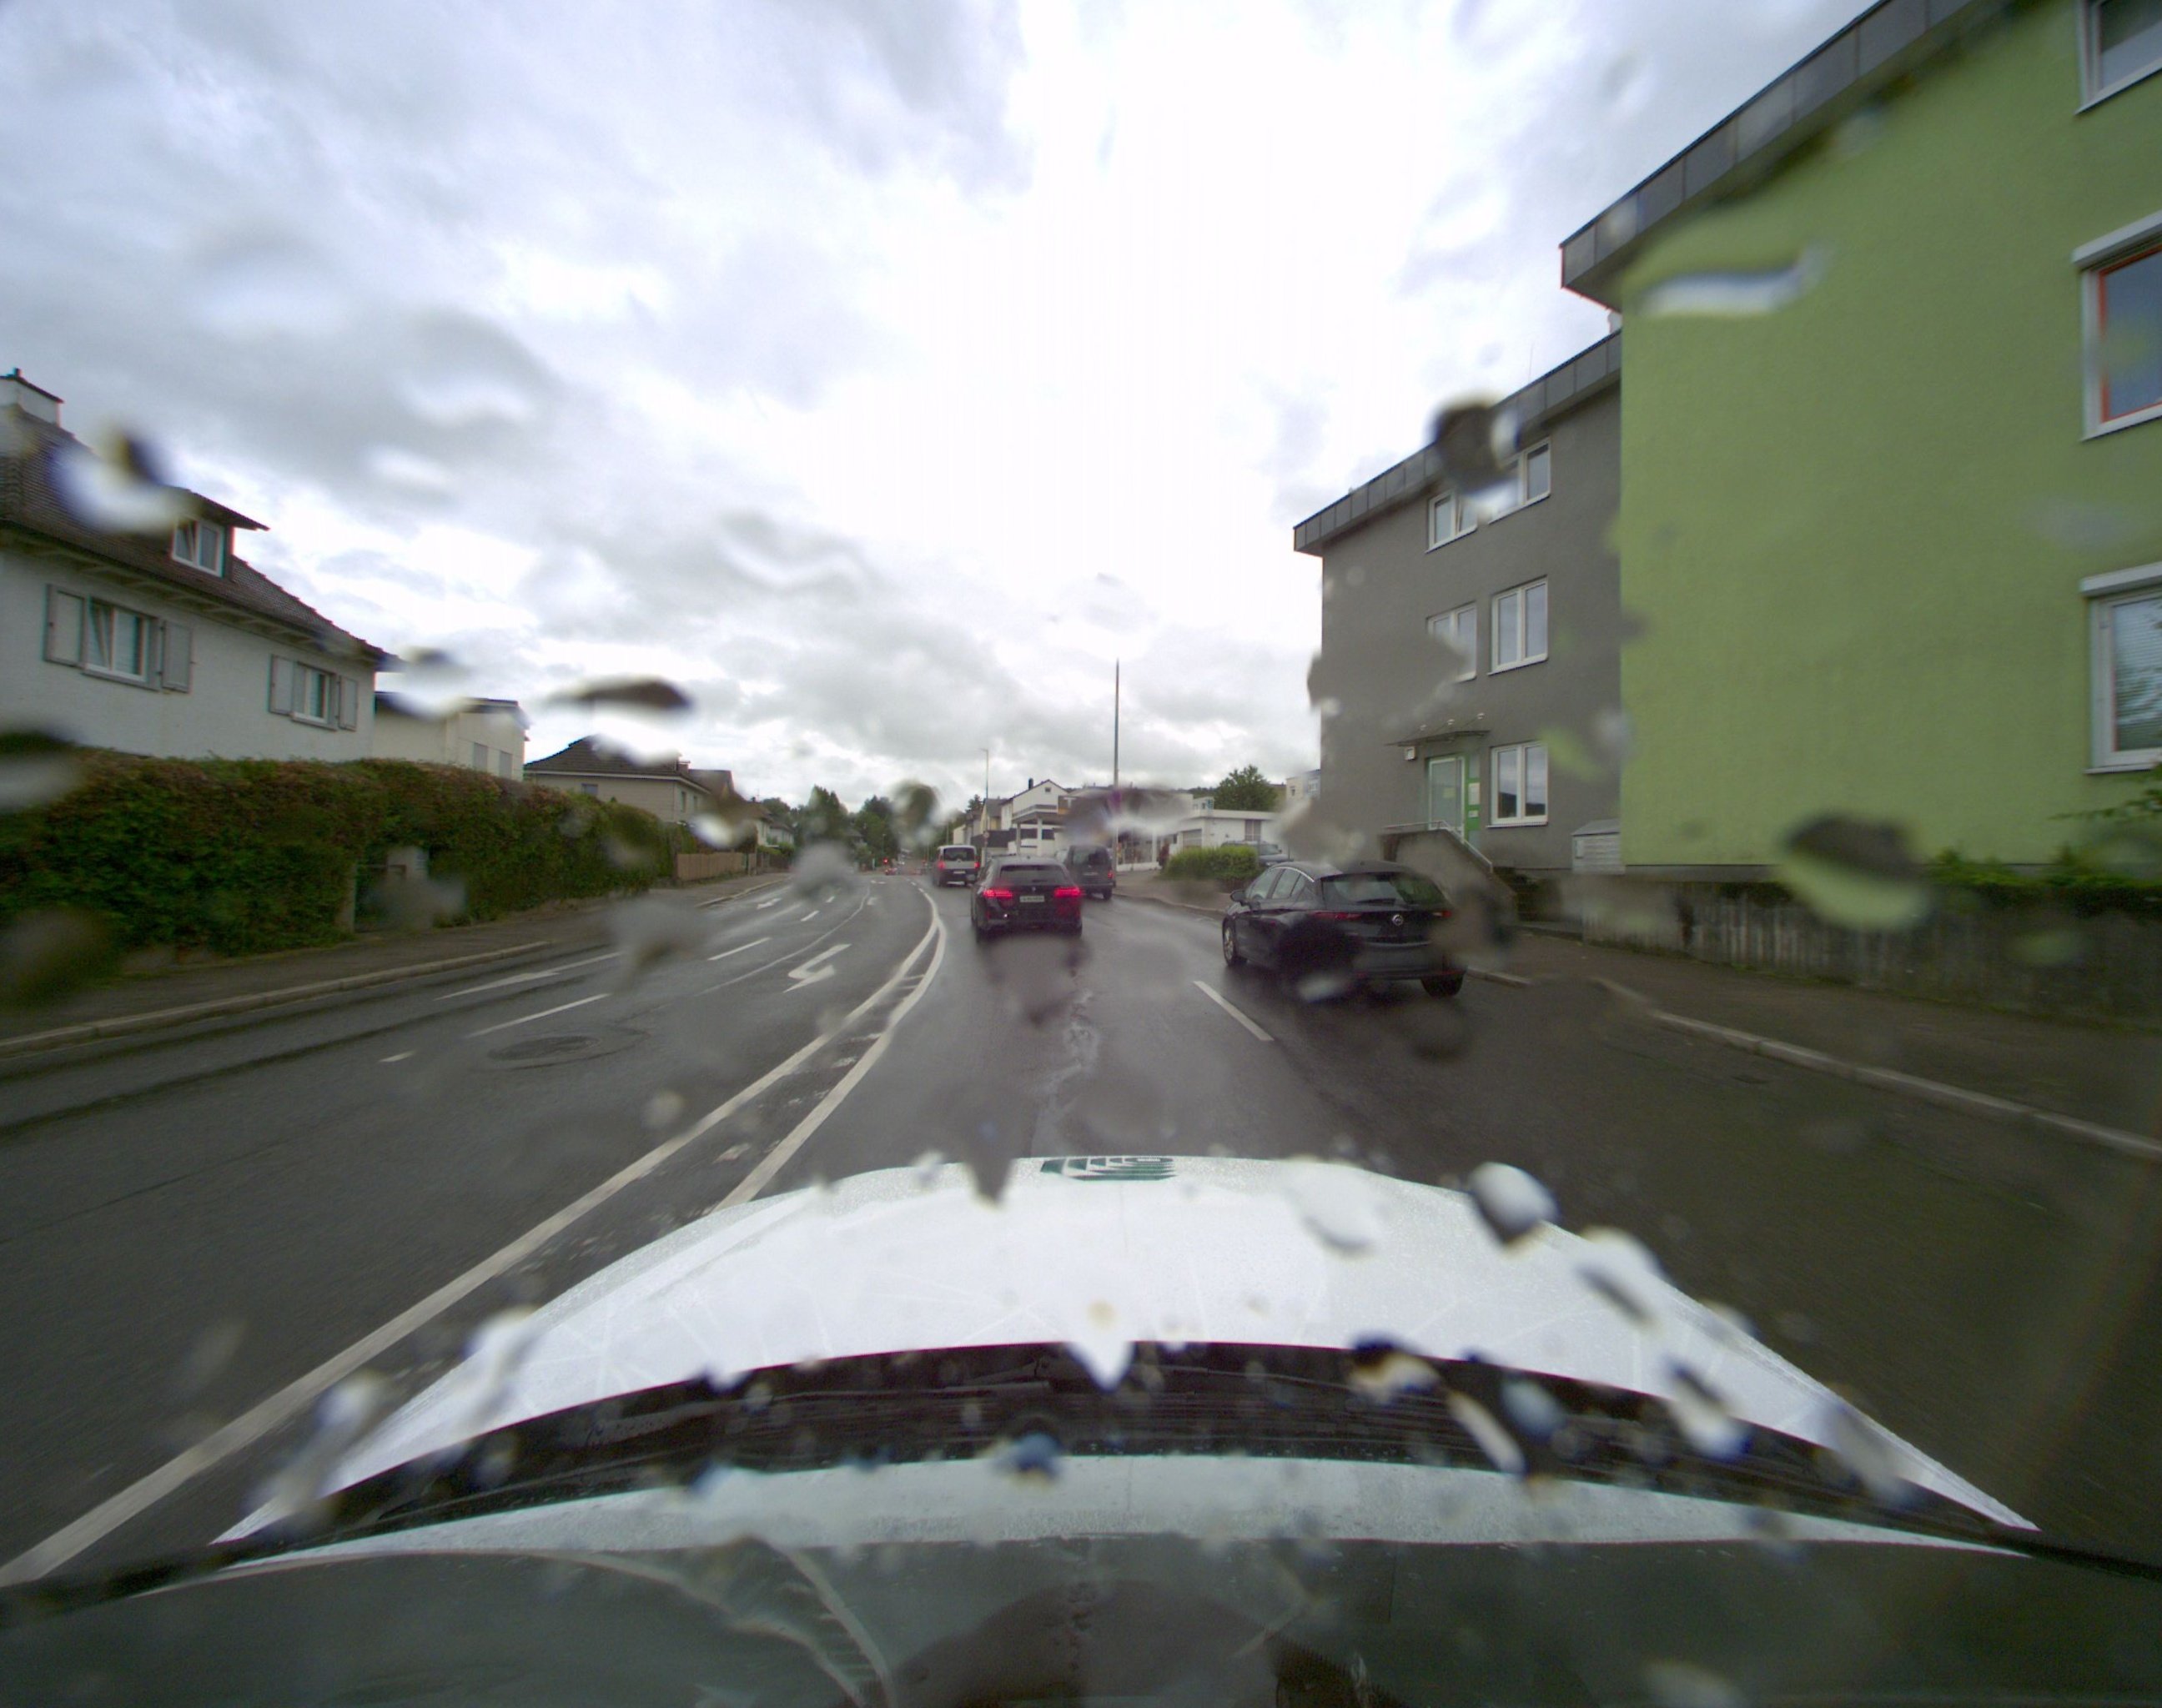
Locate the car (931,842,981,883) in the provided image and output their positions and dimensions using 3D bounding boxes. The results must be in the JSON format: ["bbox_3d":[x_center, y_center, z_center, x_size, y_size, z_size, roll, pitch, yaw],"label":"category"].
[{"bbox_3d":[-5.775,0.426,37.355,1.995,1.738,3.983,2,-2,-12],"label":"car"}]

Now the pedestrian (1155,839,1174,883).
[{"bbox_3d":[3.847,0.324,37.599,0.714,2.014,0.613,1,-3,-5],"label":"pedestrian"}]

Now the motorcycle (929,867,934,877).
[{"bbox_3d":[-24.041,2.918,130.733,0.704,1.509,2.140,-1,-2,-14],"label":"motorcycle"}]

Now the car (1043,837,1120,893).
[{"bbox_3d":[-0.065,0.439,28.262,1.840,1.767,3.983,2,-2,-12],"label":"car"}]

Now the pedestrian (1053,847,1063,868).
[{"bbox_3d":[-1.806,0.281,64.607,0.611,1.656,0.582,2,-3,-15],"label":"pedestrian"}]

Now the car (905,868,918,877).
[{"bbox_3d":[-34.067,3.778,163.476,1.998,1.741,3.976,2,-2,-17],"label":"car"}]

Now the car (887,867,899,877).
[{"bbox_3d":[-35.145,3.407,152.122,1.994,1.741,3.985,2,-2,-10],"label":"car"}]

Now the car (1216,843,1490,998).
[{"bbox_3d":[2.953,0.692,9.794,1.753,1.449,3.994,1,-2,-4],"label":"car"}]

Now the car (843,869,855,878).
[{"bbox_3d":[-40.685,3.461,142.980,1.887,1.585,3.980,2,-2,-14],"label":"car"}]

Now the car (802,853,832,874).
[{"bbox_3d":[-19.738,0.770,60.958,1.752,1.440,4.110,2,-2,-13],"label":"car"}]

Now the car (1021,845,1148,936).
[{"bbox_3d":[-0.074,0.682,15.576,1.991,1.484,3.991,1,-2,-6],"label":"car"}]

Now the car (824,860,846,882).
[{"bbox_3d":[-23.360,1.643,77.329,1.917,2.003,5.058,2,-2,-17],"label":"car"}]

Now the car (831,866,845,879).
[{"bbox_3d":[-29.247,2.243,98.058,1.554,1.431,3.991,2,-2,-17],"label":"car"}]
